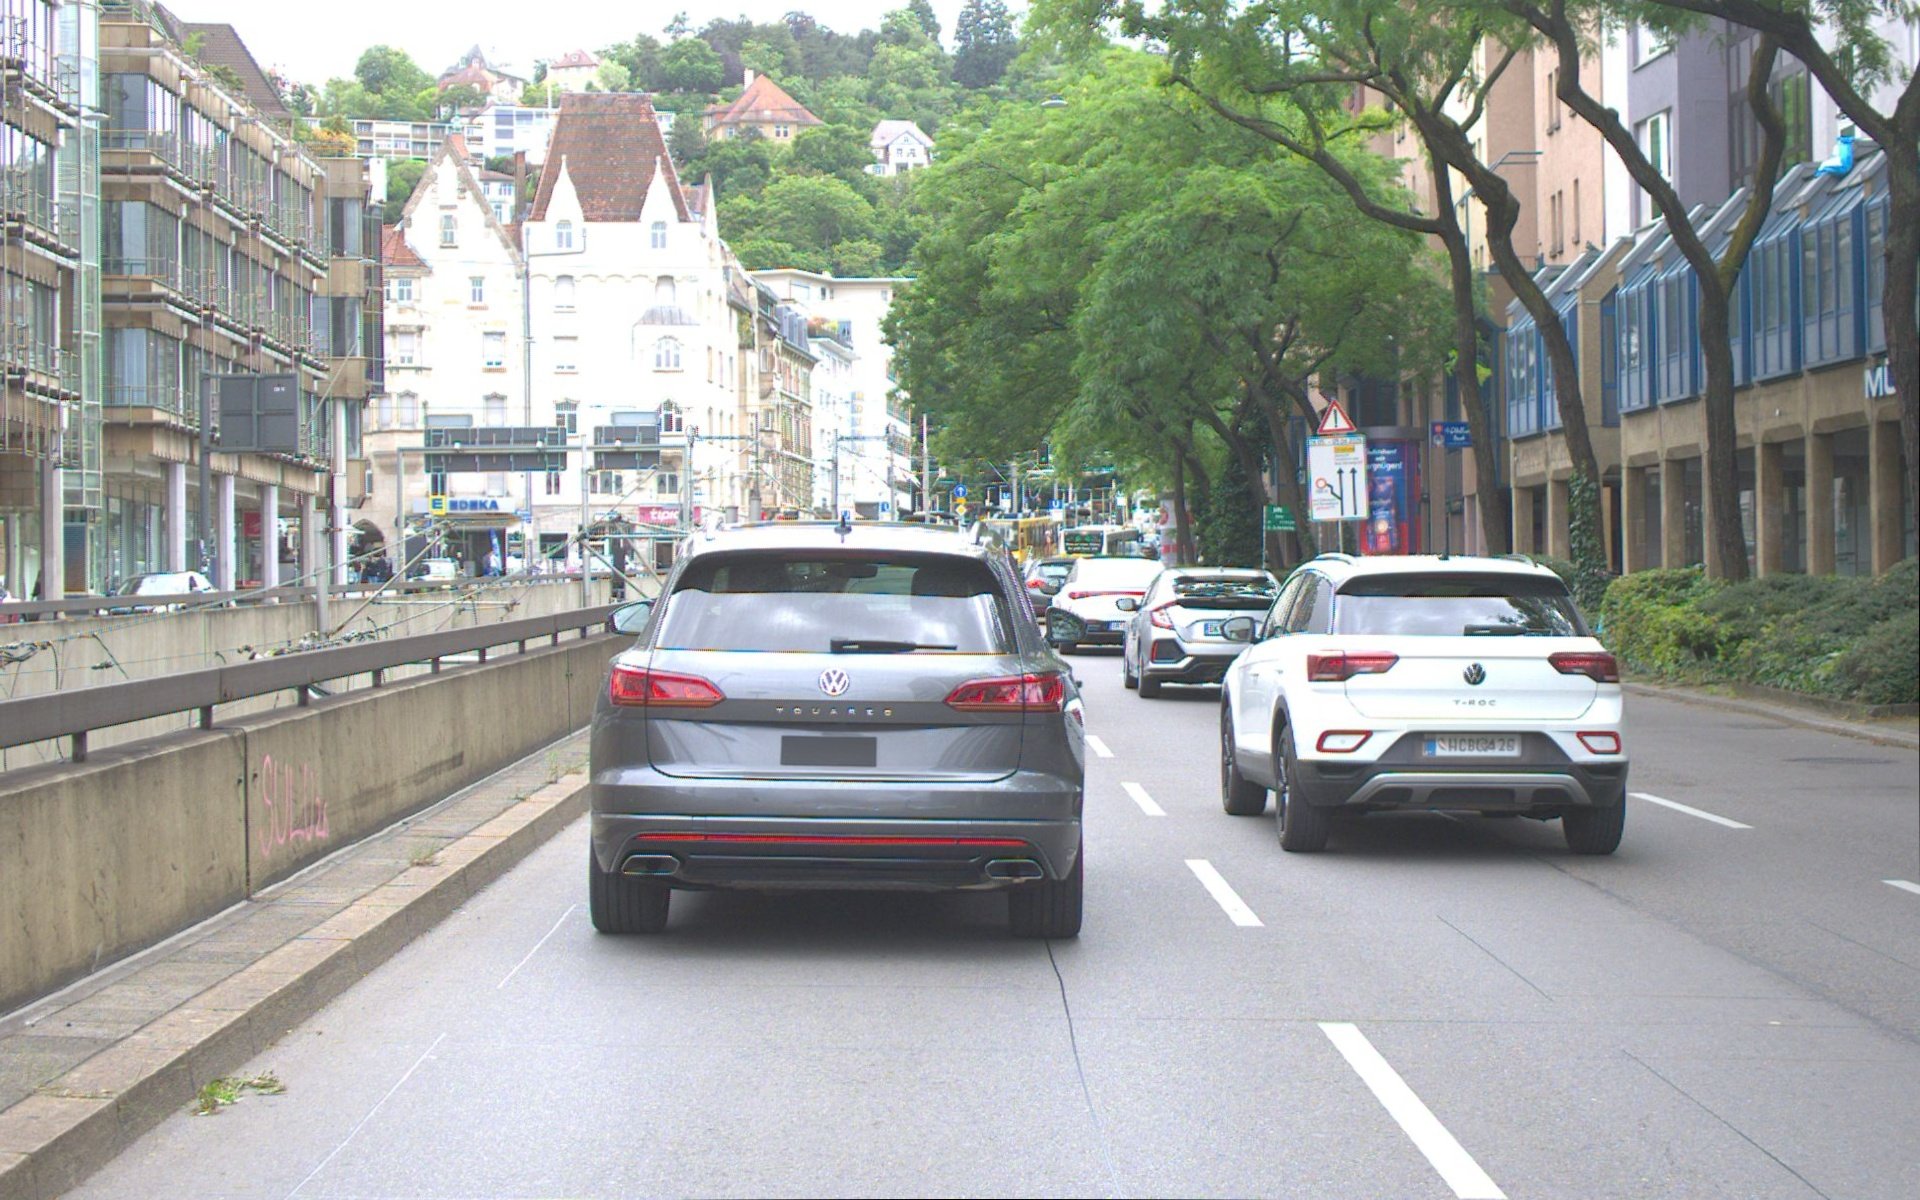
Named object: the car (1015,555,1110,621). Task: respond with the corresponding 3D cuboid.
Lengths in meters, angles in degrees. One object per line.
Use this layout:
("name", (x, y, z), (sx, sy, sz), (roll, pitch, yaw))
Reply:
("car", (2.218, -0.272, 75.162), (1.832, 1.358, 3.767), (-2, 0, -1))

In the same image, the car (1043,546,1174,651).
("car", (2.255, -0.041, 53.010), (1.832, 1.512, 3.767), (-1, 0, 0))

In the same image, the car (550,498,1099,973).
("car", (-0.562, 0.468, 14.800), (1.970, 1.690, 4.225), (-2, 1, -2))

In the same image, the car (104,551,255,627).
("car", (-16.894, -0.269, 74.675), (1.993, 1.580, 4.887), (-1, 1, 2))

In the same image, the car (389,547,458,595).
("car", (-20.547, -1.123, 131.822), (1.993, 1.762, 4.281), (-1, 1, 0))

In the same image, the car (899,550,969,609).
("car", (-0.738, -0.571, 95.367), (1.832, 1.561, 3.767), (-2, 0, -2))

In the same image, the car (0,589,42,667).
("car", (-19.412, 0.556, 66.808), (1.993, 1.459, 4.886), (-1, 1, -2))

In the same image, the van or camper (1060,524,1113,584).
("van or camper", (6.812, -2.487, 185.558), (2.627, 3.168, 5.803), (-1, 1, 0))

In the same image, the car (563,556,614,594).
("car", (-17.882, -1.230, 165.611), (1.993, 1.762, 4.281), (-1, 1, 0))

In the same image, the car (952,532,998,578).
("car", (0.659, -1.930, 147.387), (1.832, 1.868, 4.870), (-2, 0, 1))

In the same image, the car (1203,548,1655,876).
("car", (2.467, 0.528, 19.027), (1.797, 1.540, 3.936), (2, 1, -2))

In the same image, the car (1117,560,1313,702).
("car", (2.774, 0.304, 38.212), (1.833, 1.427, 4.148), (0, 2, -1))
